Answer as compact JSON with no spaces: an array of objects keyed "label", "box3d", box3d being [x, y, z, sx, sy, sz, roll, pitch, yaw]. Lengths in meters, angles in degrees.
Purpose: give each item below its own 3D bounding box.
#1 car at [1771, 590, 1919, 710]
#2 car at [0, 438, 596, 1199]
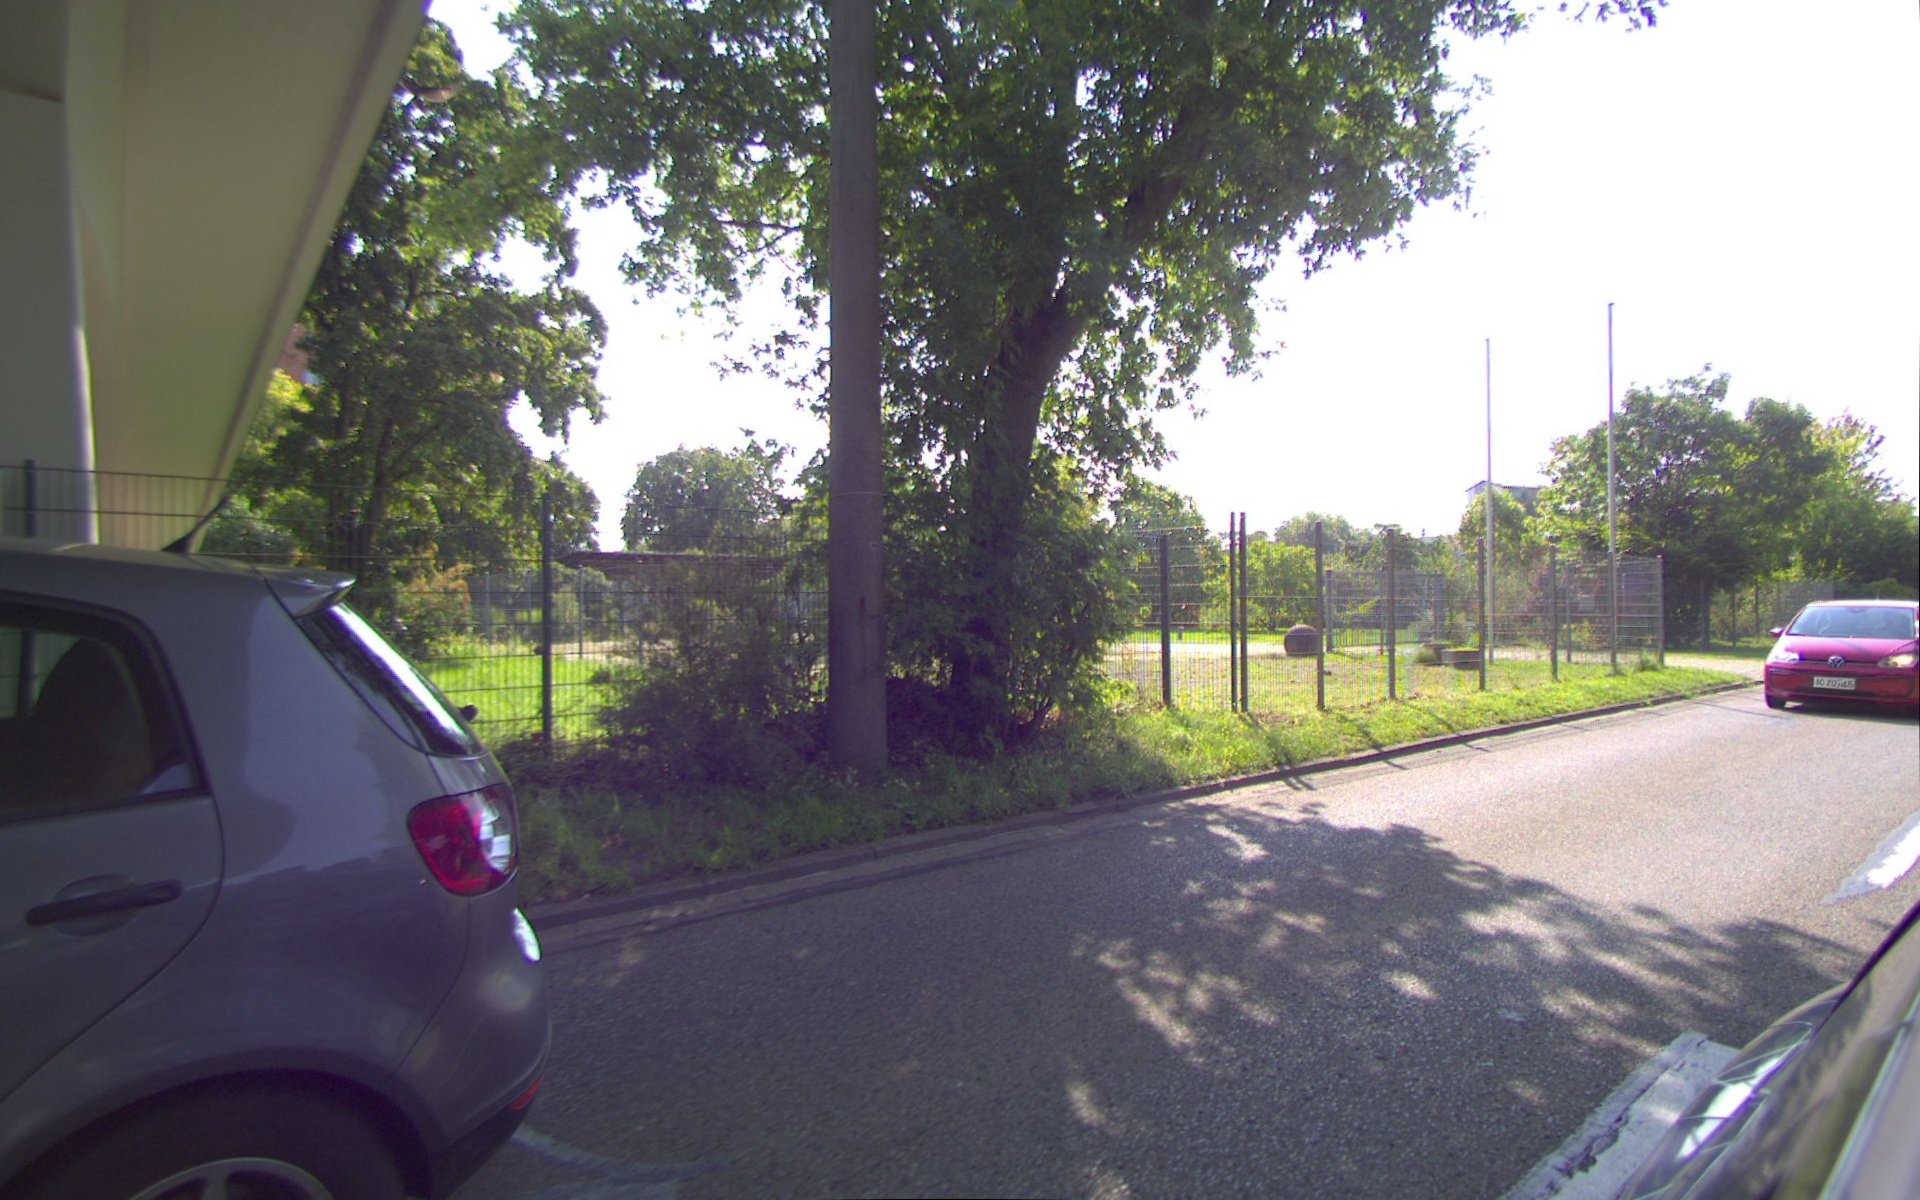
[{"label":"car","box3d":[12.562,0.587,13.827,3.409,1.416,1.579,-1,1,-38]},{"label":"car","box3d":[-2.725,0.579,1.437,3.830,1.576,1.648,-1,-1,-40]}]
